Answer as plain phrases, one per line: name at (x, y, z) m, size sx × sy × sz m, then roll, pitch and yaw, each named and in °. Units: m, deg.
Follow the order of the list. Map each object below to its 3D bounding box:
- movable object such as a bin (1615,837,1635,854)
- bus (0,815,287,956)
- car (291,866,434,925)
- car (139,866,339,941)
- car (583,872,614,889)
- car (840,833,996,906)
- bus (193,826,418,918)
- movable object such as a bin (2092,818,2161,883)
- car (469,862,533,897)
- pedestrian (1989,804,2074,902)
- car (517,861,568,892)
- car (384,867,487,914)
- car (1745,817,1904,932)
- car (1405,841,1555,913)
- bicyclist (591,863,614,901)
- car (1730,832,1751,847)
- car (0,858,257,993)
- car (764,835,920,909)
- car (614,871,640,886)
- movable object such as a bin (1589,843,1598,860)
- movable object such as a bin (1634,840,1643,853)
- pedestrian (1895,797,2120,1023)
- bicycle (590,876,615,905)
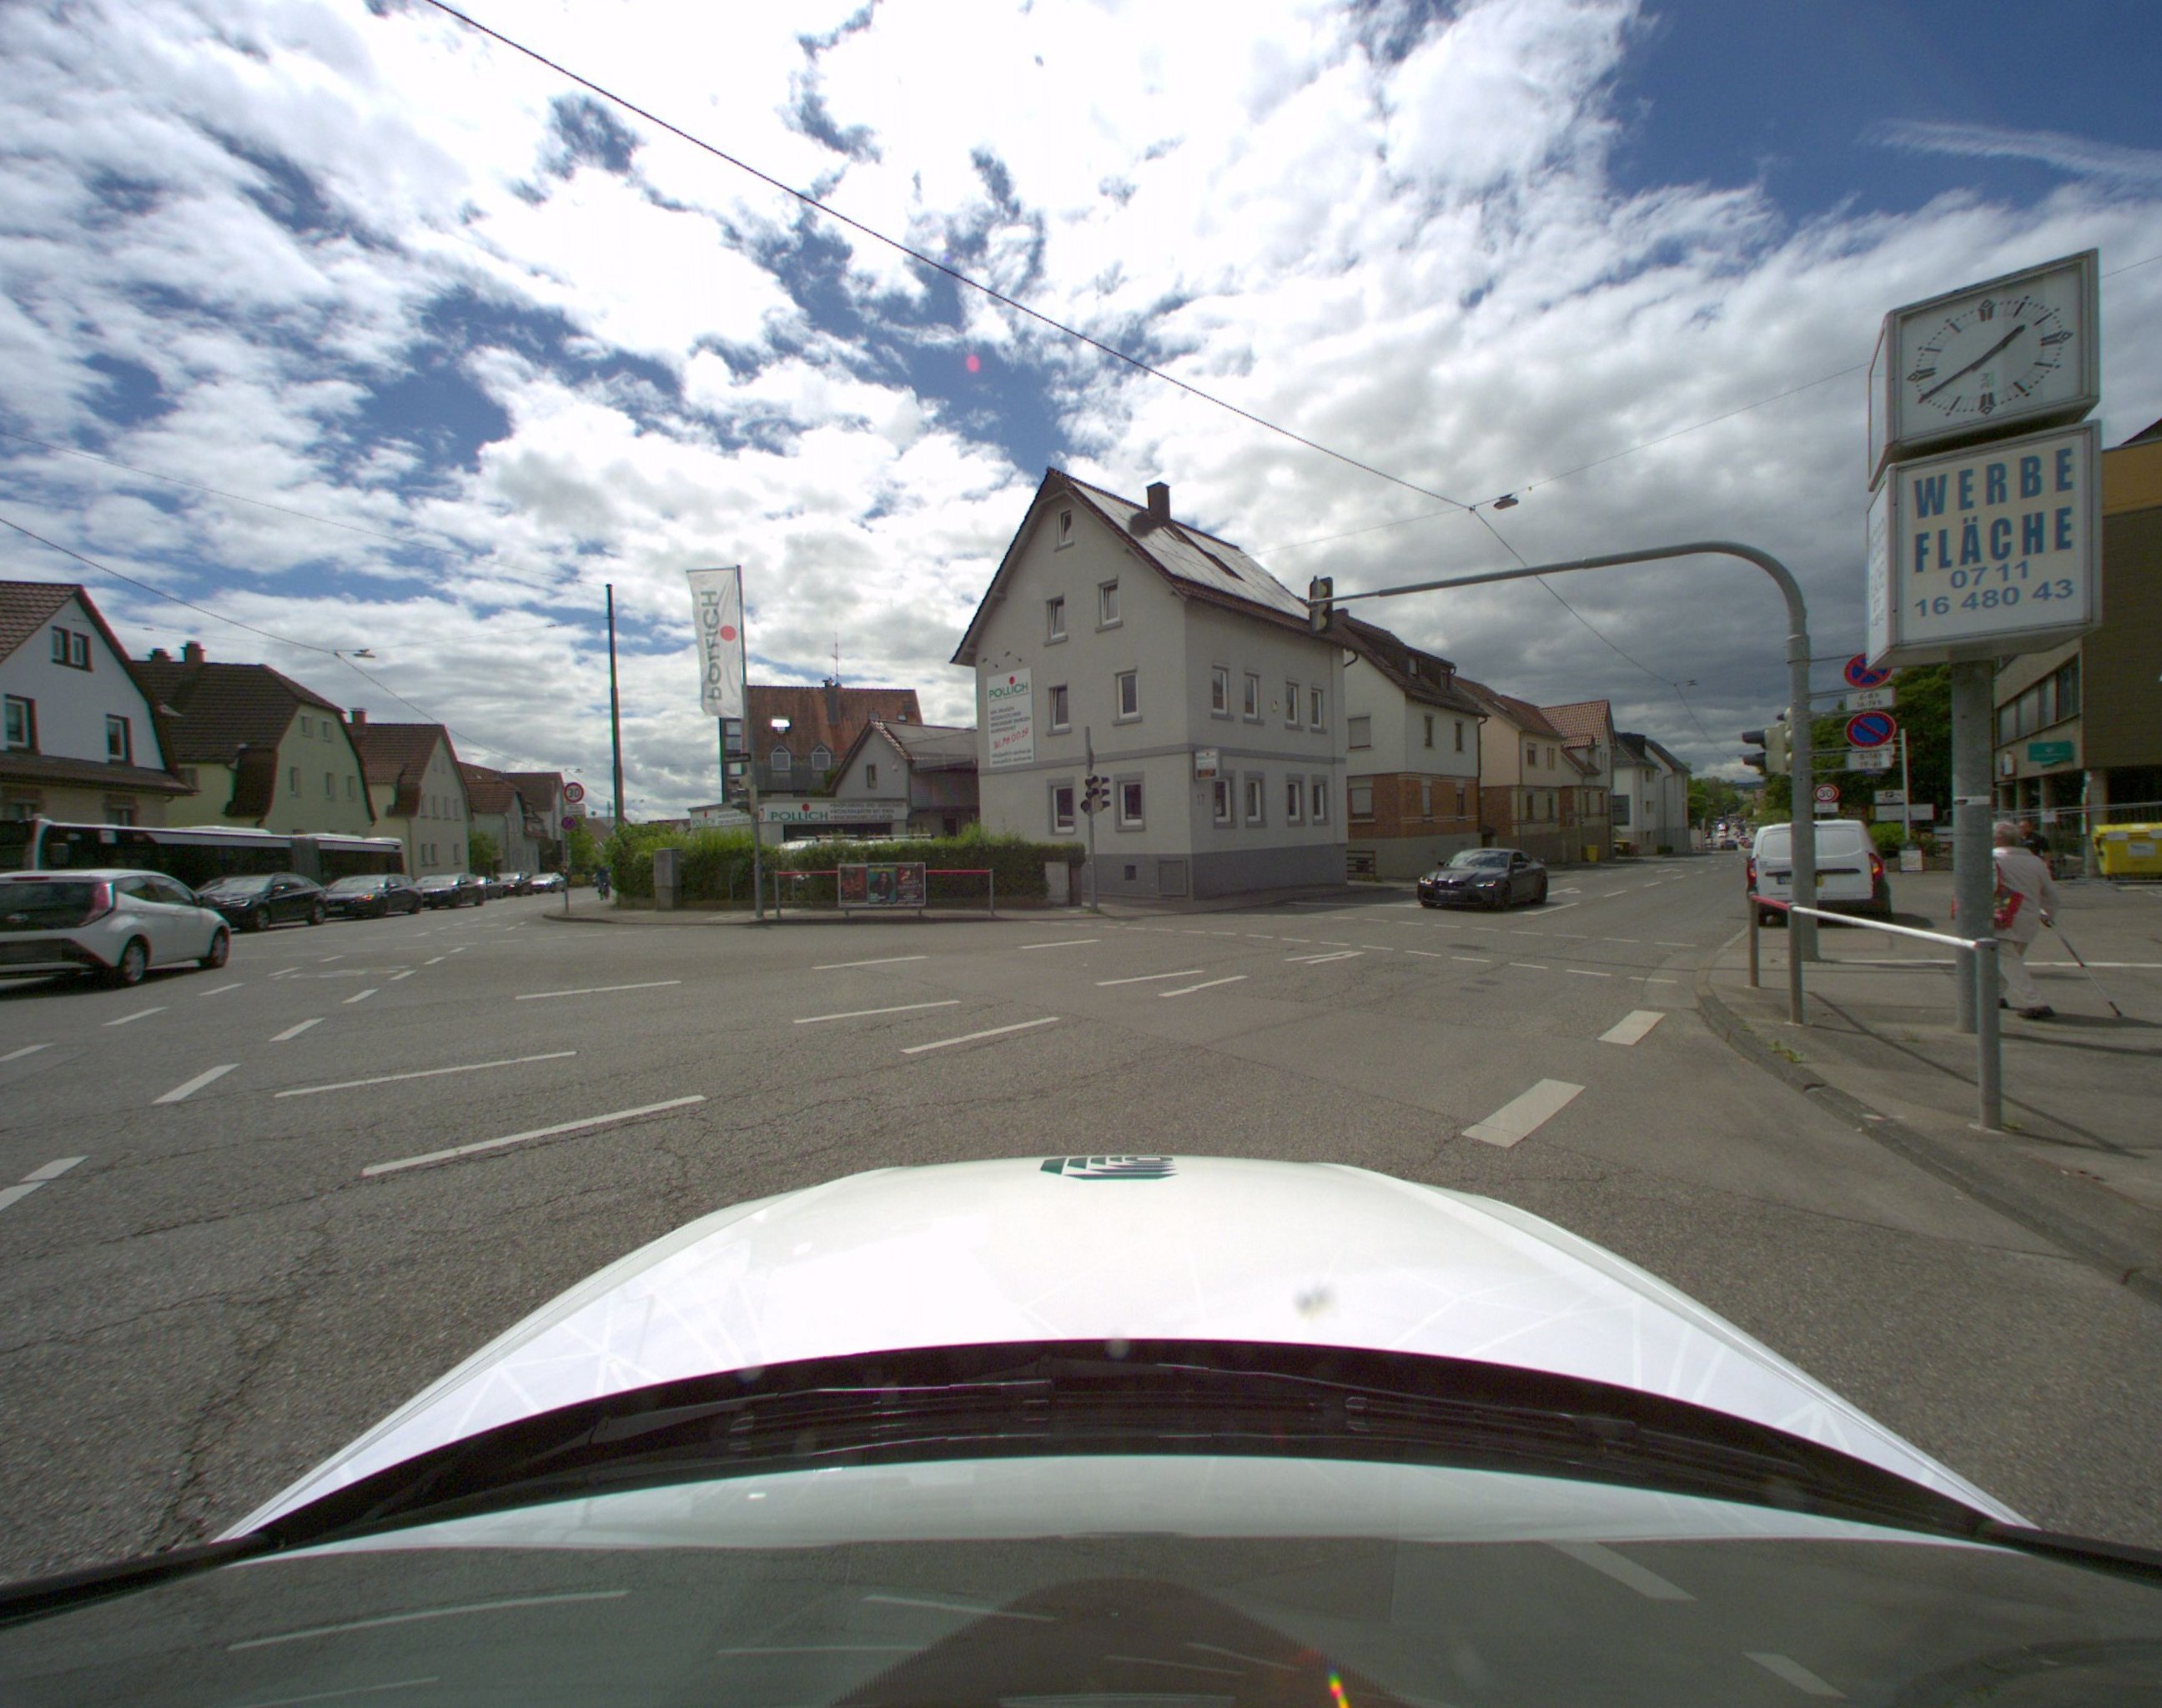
movable object such as a bin at (44.412, -0.690, 66.521) m, size 1.269 × 1.310 × 0.821 m, roll -1°, pitch 0°, yaw 38°
bus at (-25.631, 0.711, 21.771) m, size 2.788 × 3.060 × 9.127 m, roll -2°, pitch 0°, yaw -21°
car at (-23.223, 1.284, 26.544) m, size 2.000 × 1.640 × 4.157 m, roll -1°, pitch 0°, yaw -19°
car at (-21.828, 1.200, 21.373) m, size 2.000 × 1.640 × 3.974 m, roll -1°, pitch 0°, yaw -19°
car at (-51.439, 2.828, 86.881) m, size 2.000 × 1.640 × 3.974 m, roll -1°, pitch 0°, yaw -19°
car at (-4.700, 0.390, 23.794) m, size 1.975 × 1.947 × 4.024 m, roll -2°, pitch 0°, yaw 44°
bus at (-28.843, 0.570, 30.991) m, size 2.788 × 2.914 × 9.127 m, roll -2°, pitch 0°, yaw -21°
movable object such as a bin at (25.754, -0.093, 19.742) m, size 1.082 × 1.492 × 1.469 m, roll -4°, pitch 2°, yaw -43°
car at (-36.229, 1.553, 50.979) m, size 1.998 × 2.013 × 3.978 m, roll -2°, pitch 1°, yaw -16°
pedestrian at (18.336, -0.012, 15.734) m, size 0.835 × 1.803 × 0.655 m, roll -8°, pitch -4°, yaw 43°
car at (-38.224, 1.548, 57.864) m, size 1.999 × 2.013 × 3.975 m, roll -2°, pitch 0°, yaw -19°
car at (-25.842, 1.419, 32.777) m, size 2.000 × 1.640 × 3.974 m, roll -1°, pitch 0°, yaw -19°
car at (13.696, 0.276, 14.948) m, size 1.893 × 1.794 × 4.517 m, roll -1°, pitch 0°, yaw 44°
car at (9.766, 0.460, 19.740) m, size 1.975 × 1.457 × 4.645 m, roll 2°, pitch 3°, yaw 43°
bicyclist at (-21.533, 1.246, 36.668) m, size 0.845 × 1.614 × 1.073 m, roll -1°, pitch 0°, yaw -28°
car at (92.258, -2.057, 114.023) m, size 1.974 × 2.013 × 4.026 m, roll -1°, pitch 1°, yaw 35°
car at (-12.849, 0.901, 10.780) m, size 1.749 × 1.460 × 3.498 m, roll -3°, pitch -1°, yaw -29°
car at (-7.134, 0.488, 24.558) m, size 4.023 × 2.013 × 1.975 m, roll -2°, pitch 0°, yaw -45°
car at (-56.111, 2.981, 100.718) m, size 2.000 × 1.640 × 3.974 m, roll -1°, pitch 0°, yaw -19°
movable object such as a bin at (33.974, -0.165, 53.989) m, size 0.427 × 1.128 × 0.301 m, roll -2°, pitch 0°, yaw 42°
movable object such as a bin at (45.718, -0.594, 66.809) m, size 0.526 × 1.030 × 0.458 m, roll -1°, pitch 0°, yaw 42°
pedestrian at (7.465, 0.418, 6.594) m, size 0.837 × 1.637 × 0.868 m, roll -5°, pitch -1°, yaw -20°
bicycle at (-21.494, 1.622, 36.617) m, size 0.837 × 1.164 × 2.172 m, roll -1°, pitch 0°, yaw -28°
